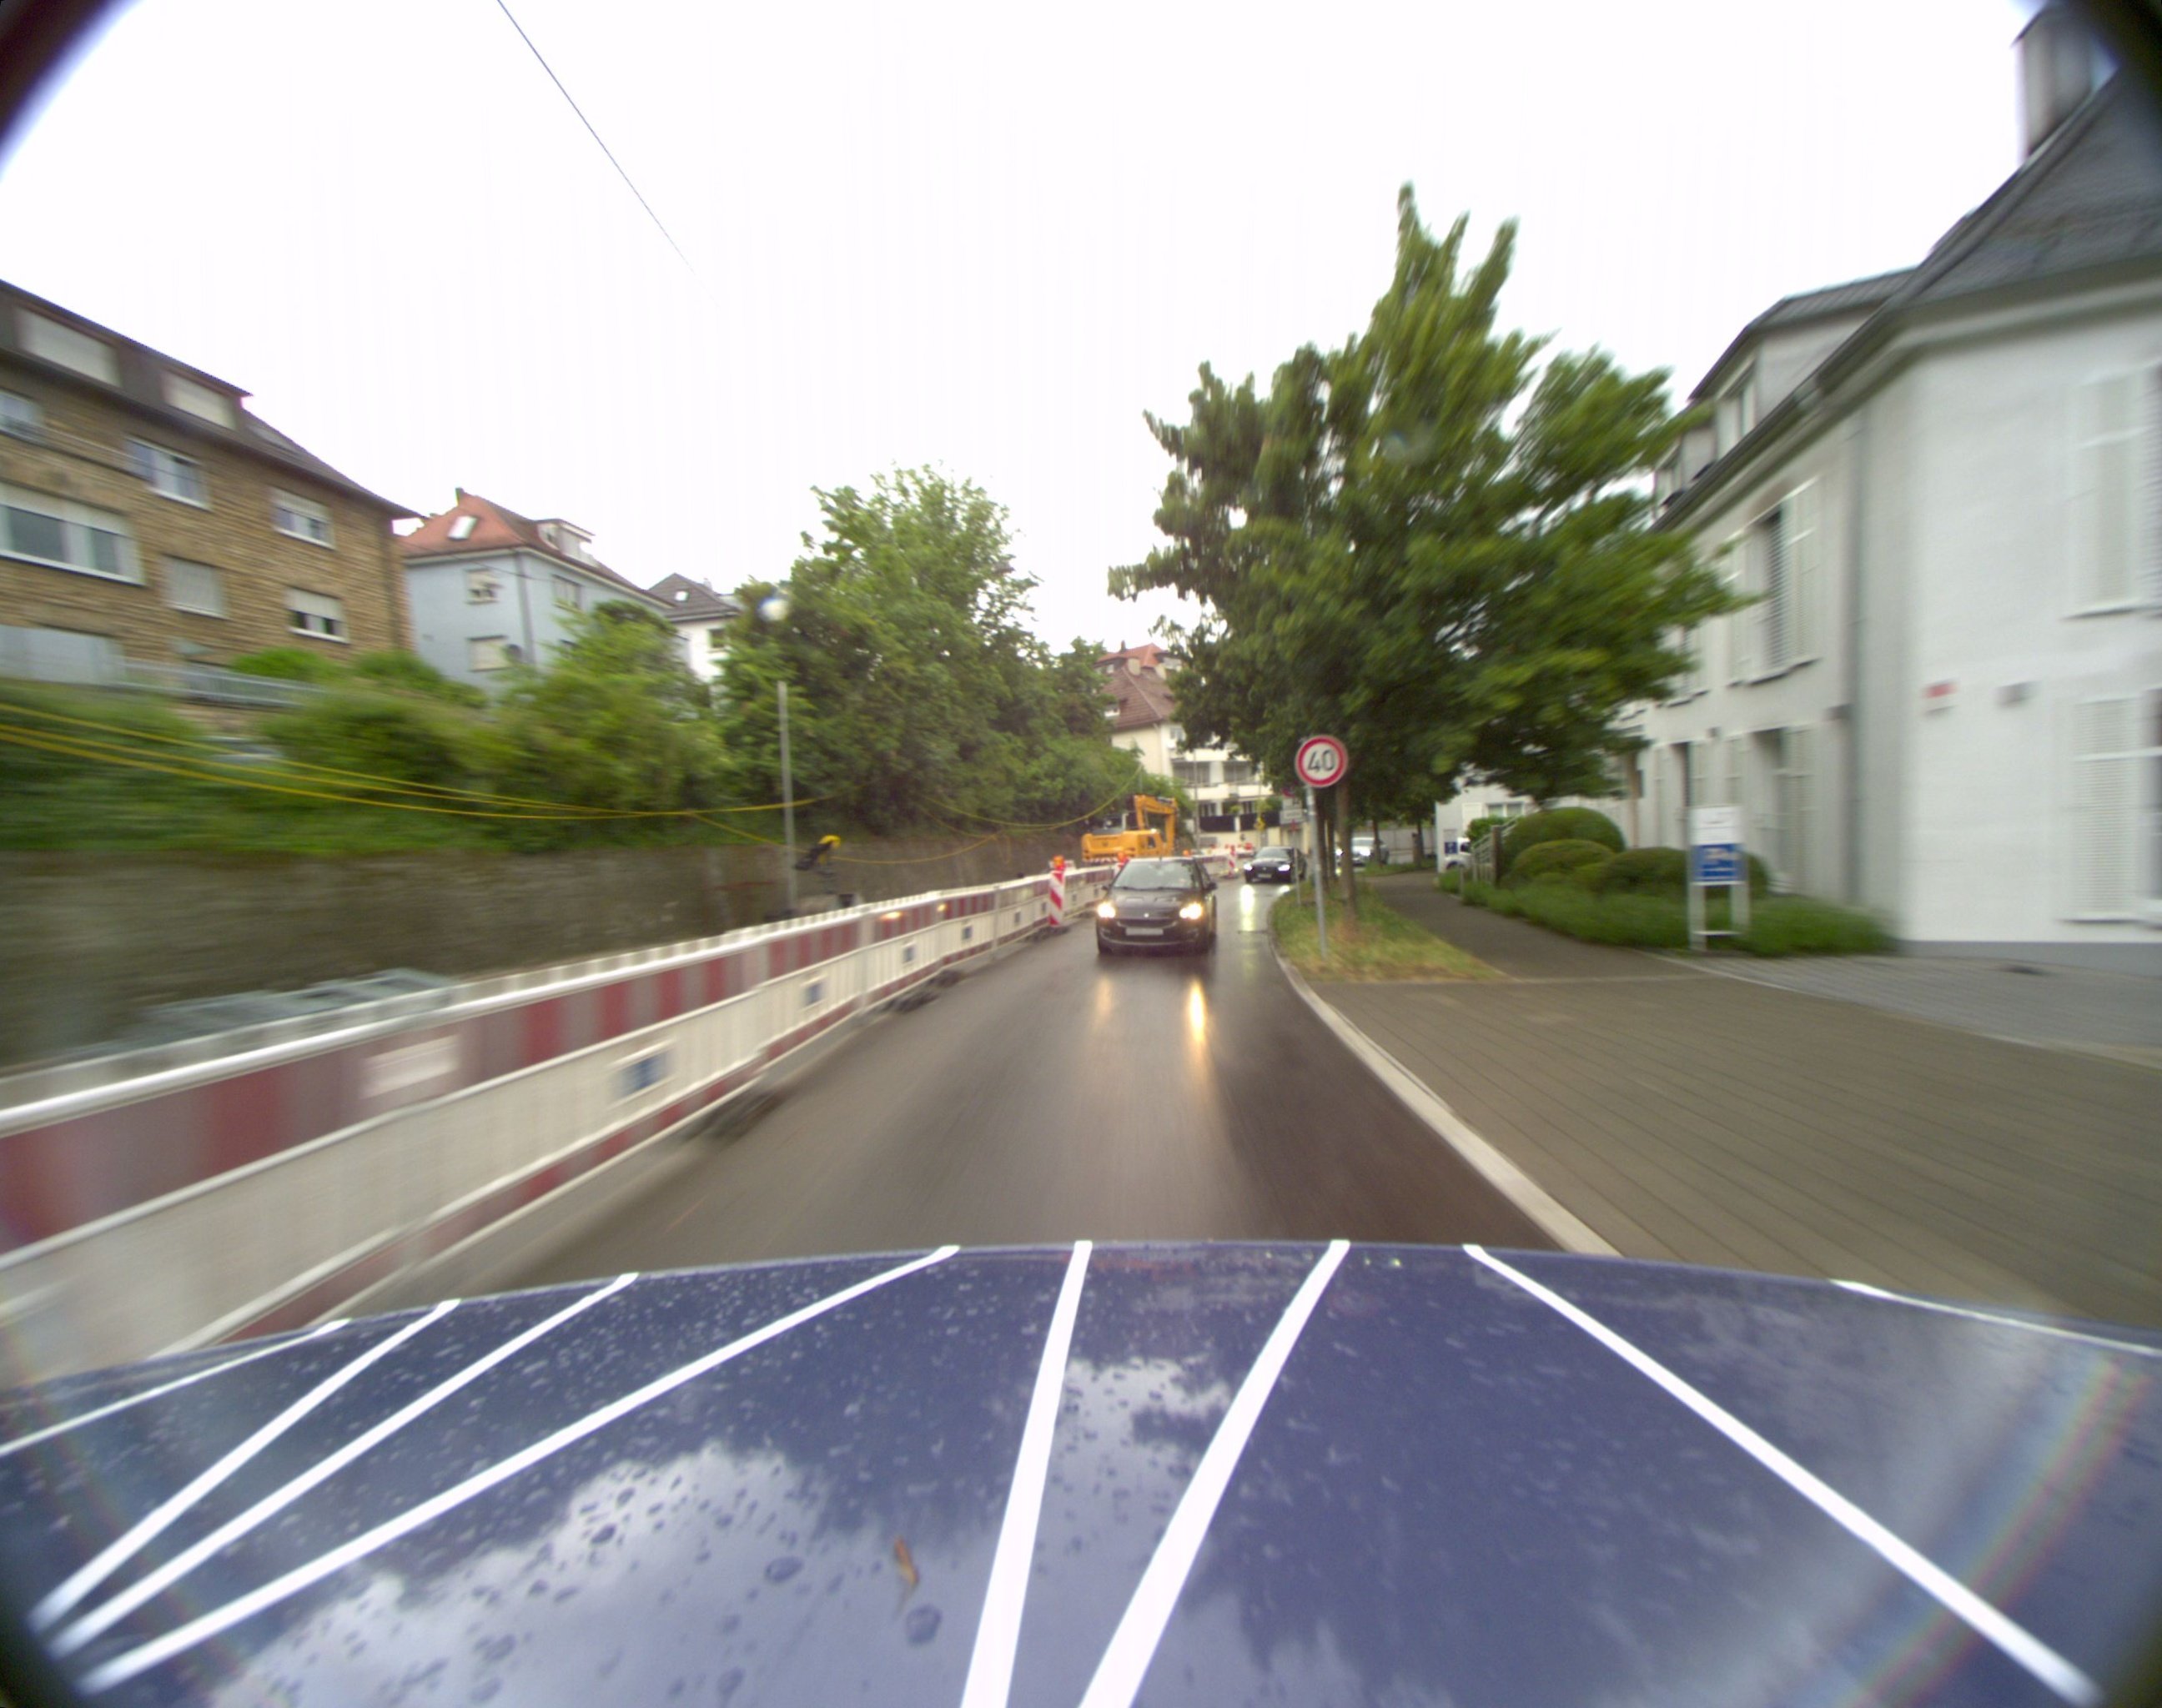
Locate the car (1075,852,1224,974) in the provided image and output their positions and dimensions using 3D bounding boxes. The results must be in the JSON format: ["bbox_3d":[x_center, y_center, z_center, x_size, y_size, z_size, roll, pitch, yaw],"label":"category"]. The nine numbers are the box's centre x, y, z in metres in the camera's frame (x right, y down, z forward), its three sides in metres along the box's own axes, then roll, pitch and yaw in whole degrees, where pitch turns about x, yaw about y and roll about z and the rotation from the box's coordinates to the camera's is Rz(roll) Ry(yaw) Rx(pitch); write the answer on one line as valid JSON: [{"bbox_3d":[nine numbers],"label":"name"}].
[{"bbox_3d":[1.327,0.793,12.388,1.672,1.458,4.719,-2,1,14],"label":"car"}]

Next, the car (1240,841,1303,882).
[{"bbox_3d":[7.829,0.267,30.900,1.840,1.395,4.076,-2,1,23],"label":"car"}]

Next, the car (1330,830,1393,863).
[{"bbox_3d":[16.469,-0.438,44.430,1.996,1.699,4.582,-2,2,40],"label":"car"}]

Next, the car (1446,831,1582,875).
[{"bbox_3d":[15.398,-0.017,27.088,4.060,1.395,1.847,-2,2,34],"label":"car"}]

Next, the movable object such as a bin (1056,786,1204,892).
[{"bbox_3d":[2.280,-0.655,31.573,3.323,3.818,7.215,-2,1,27],"label":"movable object such as a bin"}]
